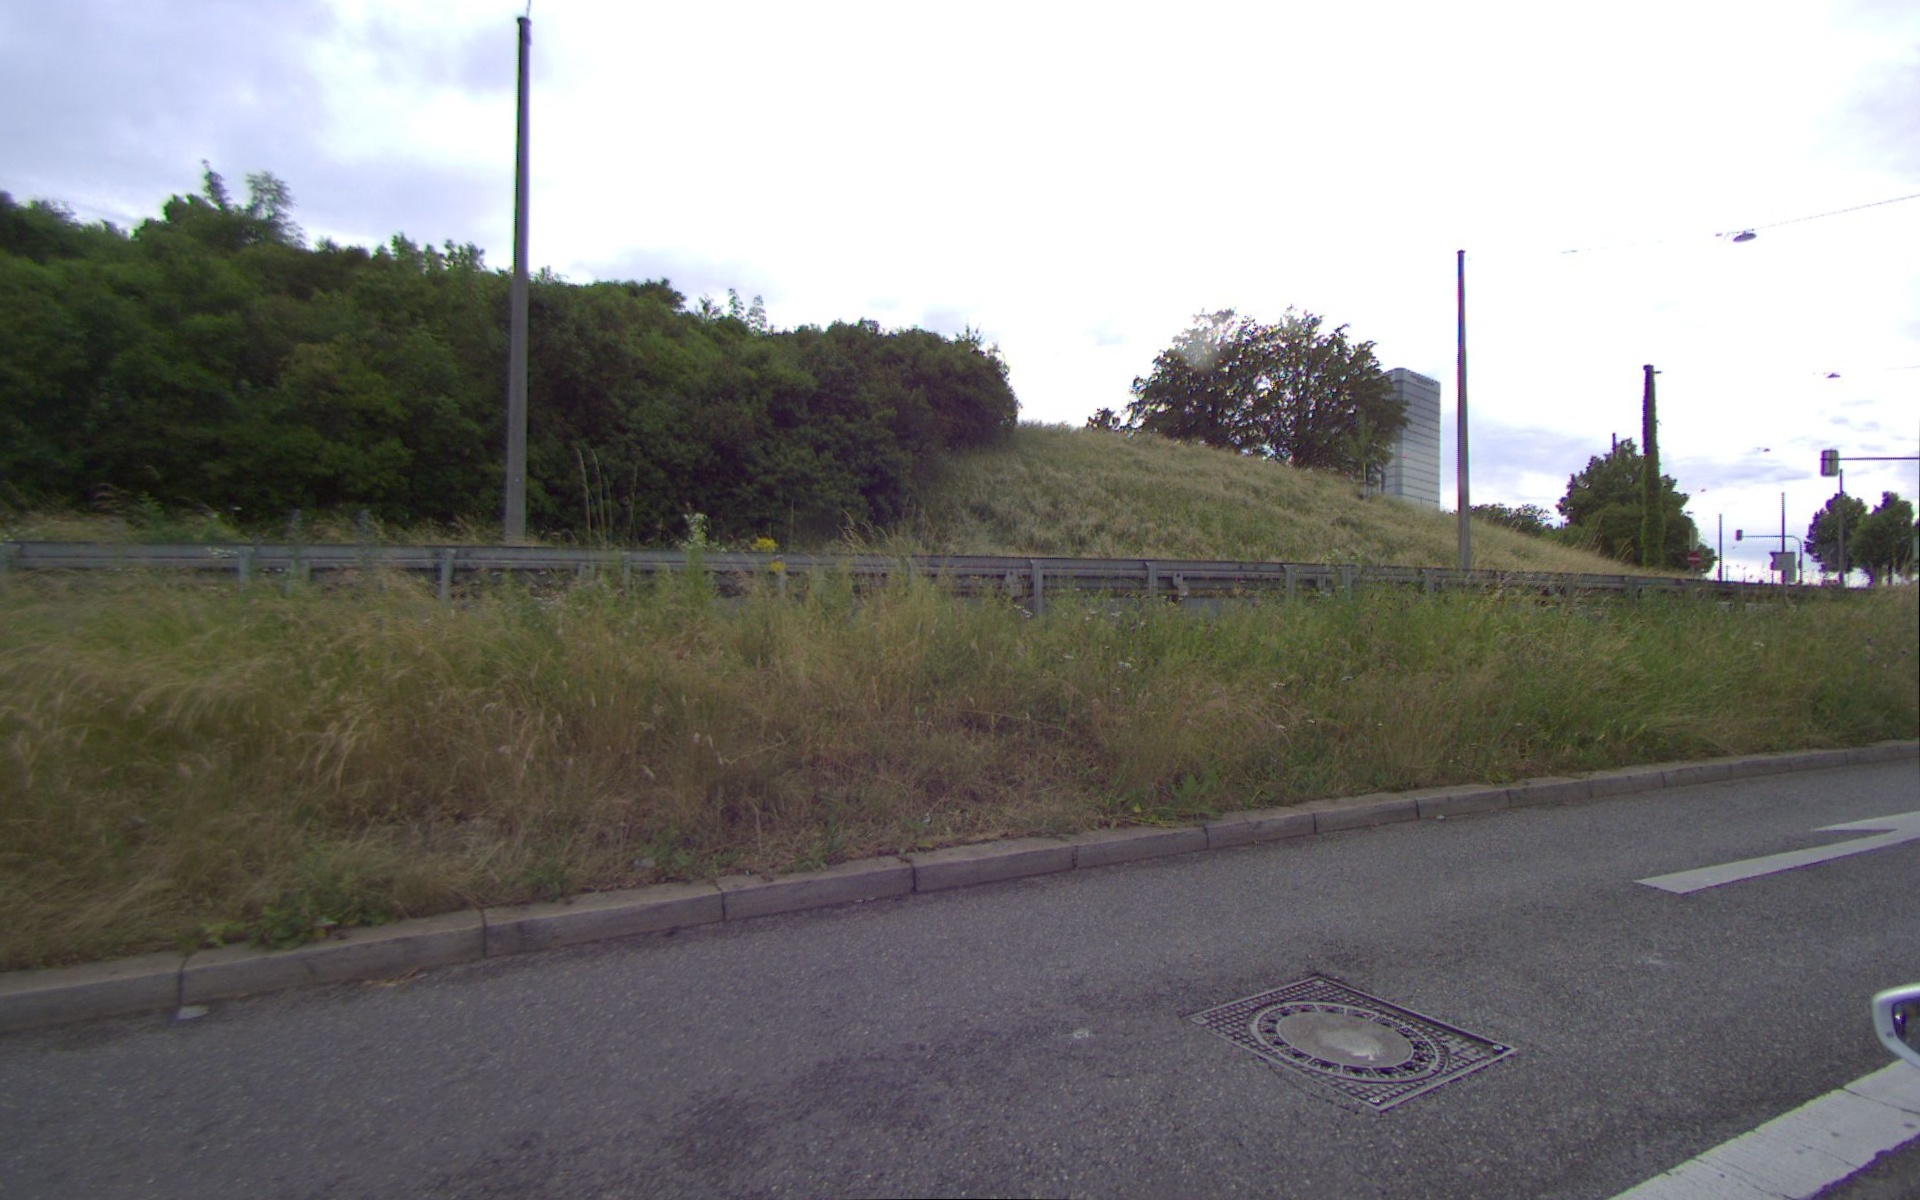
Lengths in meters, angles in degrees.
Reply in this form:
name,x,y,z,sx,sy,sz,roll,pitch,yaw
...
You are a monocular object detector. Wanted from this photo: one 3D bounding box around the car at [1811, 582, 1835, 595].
name,x,y,z,sx,sy,sz,roll,pitch,yaw
car,118.323,-1.596,137.752,1.729,1.729,3.726,4,3,31
